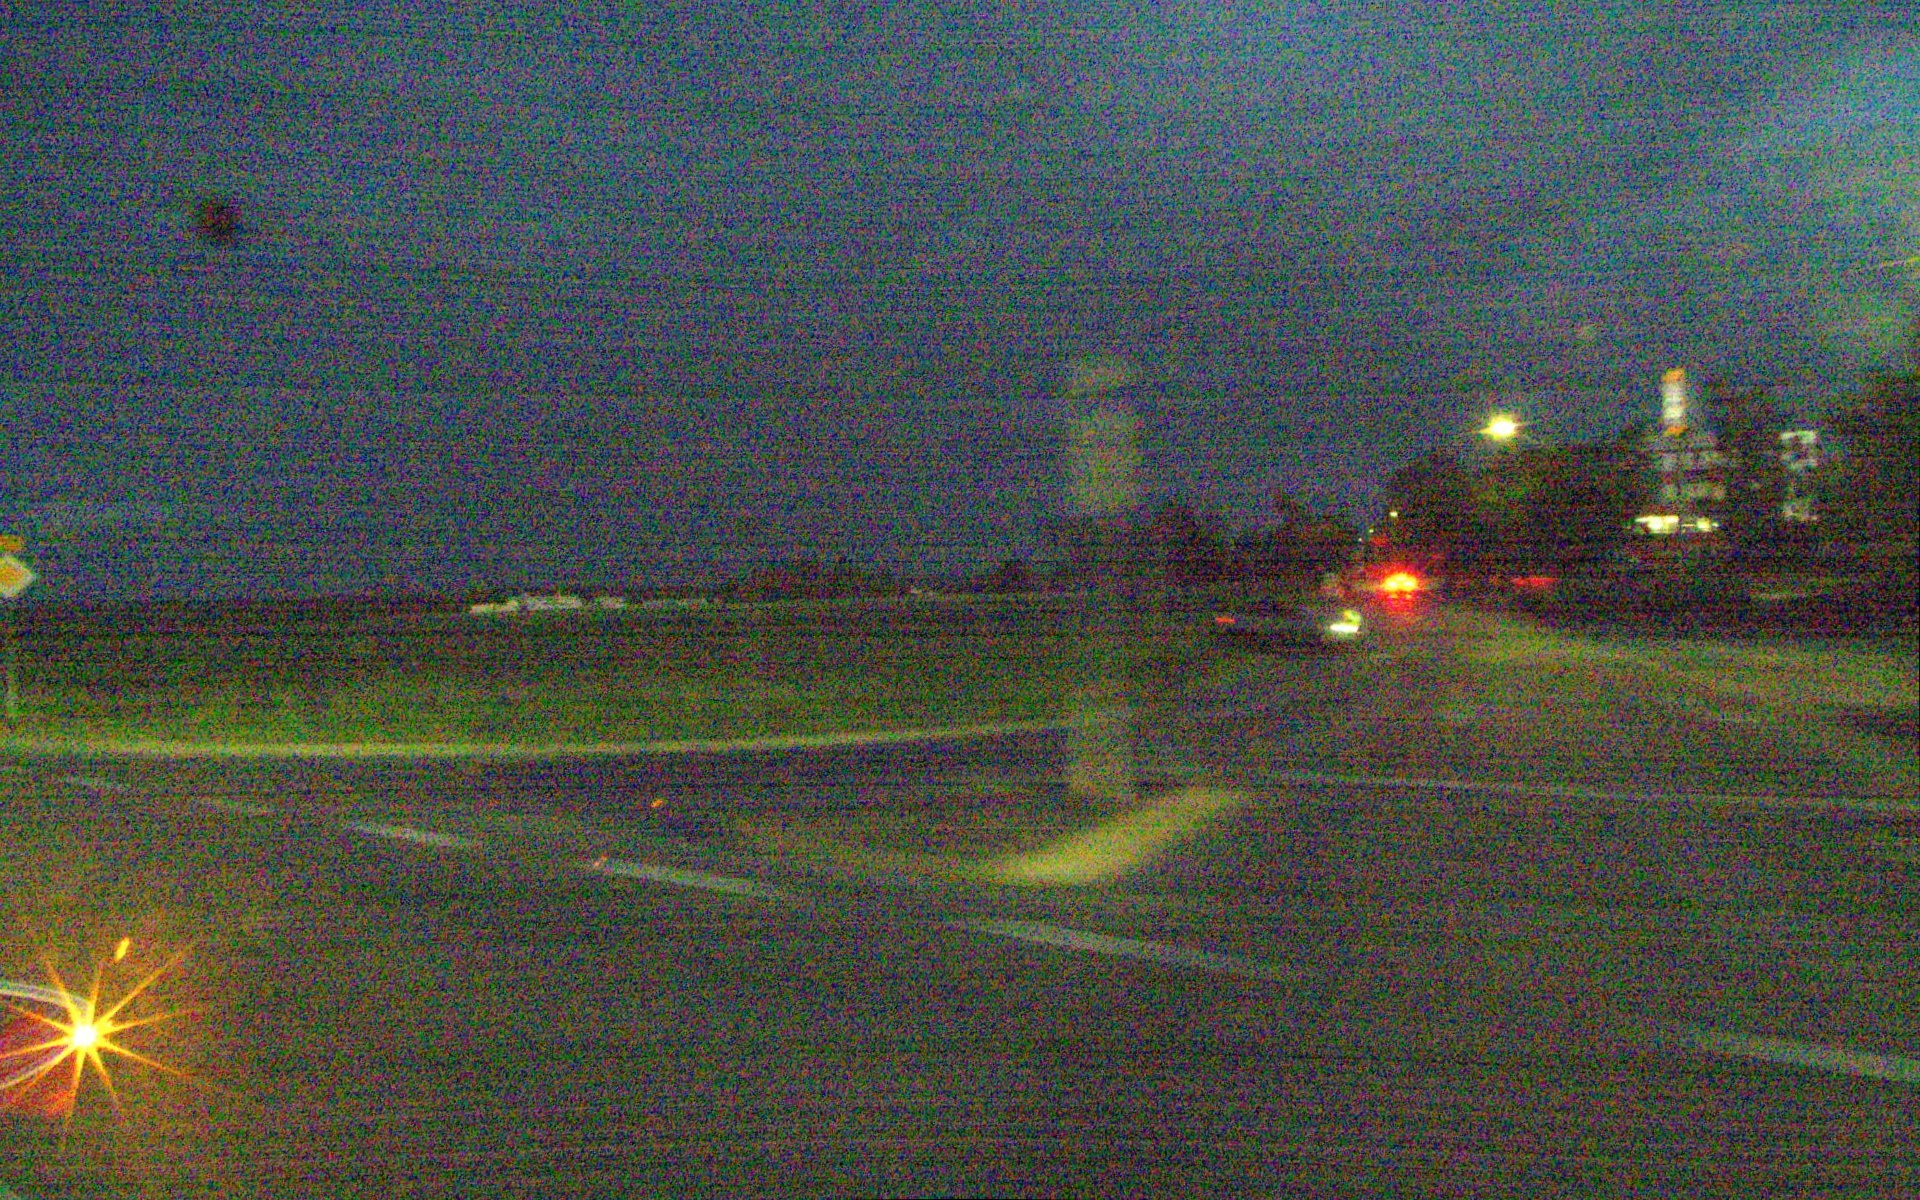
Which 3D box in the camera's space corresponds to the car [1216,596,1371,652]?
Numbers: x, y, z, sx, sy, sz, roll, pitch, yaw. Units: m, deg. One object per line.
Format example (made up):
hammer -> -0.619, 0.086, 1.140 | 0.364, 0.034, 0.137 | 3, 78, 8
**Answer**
car -> 10.927, 0.781, 32.898 | 4.421, 1.686, 1.986 | -2, 0, 37
